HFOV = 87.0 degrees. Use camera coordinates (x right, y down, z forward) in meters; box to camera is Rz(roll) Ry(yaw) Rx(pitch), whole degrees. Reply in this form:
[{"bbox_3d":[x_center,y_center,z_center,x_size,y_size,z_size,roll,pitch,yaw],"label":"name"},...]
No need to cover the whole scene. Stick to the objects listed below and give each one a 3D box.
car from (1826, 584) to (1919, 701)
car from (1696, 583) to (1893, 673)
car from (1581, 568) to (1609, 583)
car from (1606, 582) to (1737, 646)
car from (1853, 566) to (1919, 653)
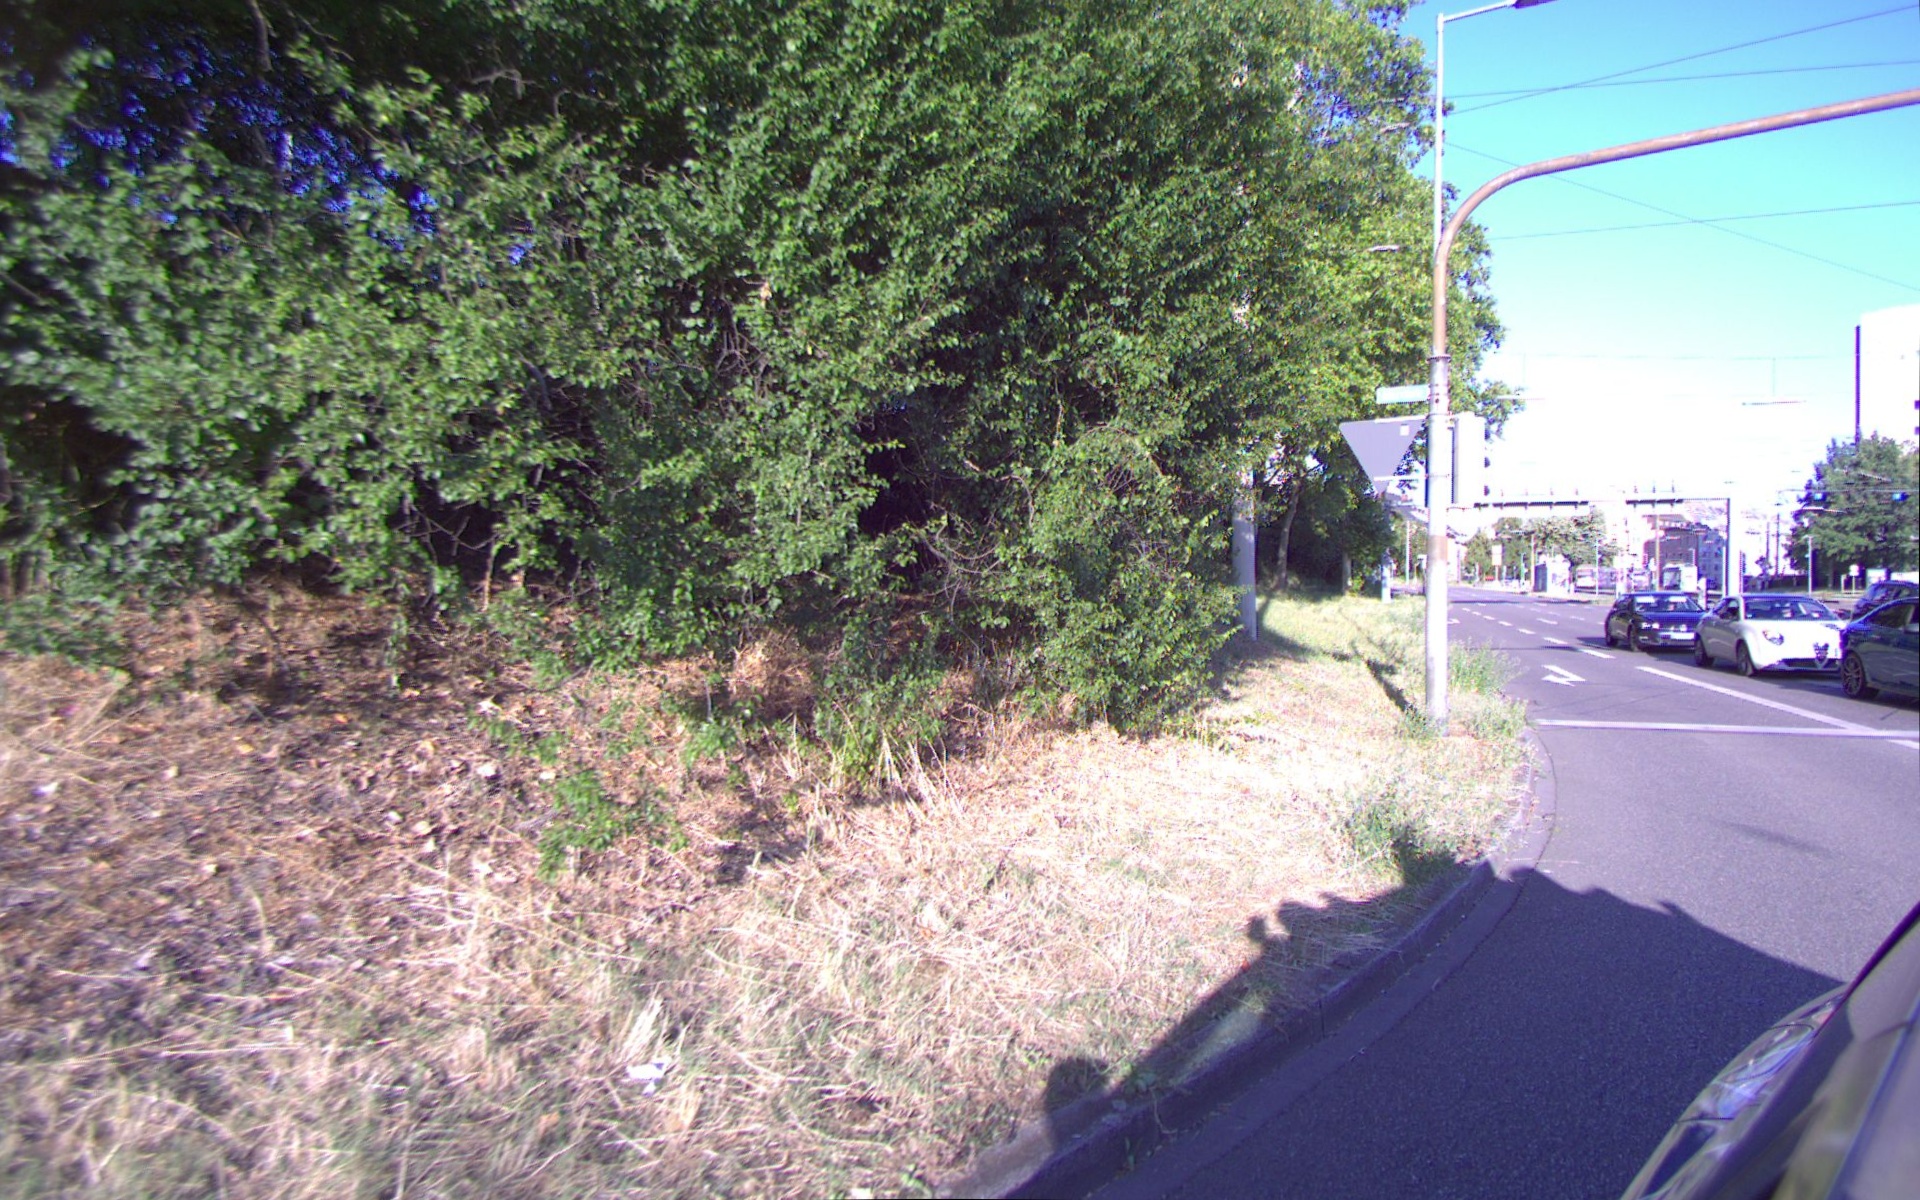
[{"bbox_3d":[12.846,0.528,12.512,1.768,1.435,4.483,0,1,20],"label":"car"},{"bbox_3d":[15.063,0.423,18.522,1.646,1.448,3.896,0,1,22],"label":"car"},{"bbox_3d":[89.591,-3.467,142.744,3.924,2.039,2.000,-2,1,-35],"label":"car"},{"bbox_3d":[17.485,0.288,25.066,1.762,1.448,3.896,0,1,22],"label":"car"},{"bbox_3d":[19.694,0.156,19.934,1.901,1.669,4.563,0,1,25],"label":"car"}]
